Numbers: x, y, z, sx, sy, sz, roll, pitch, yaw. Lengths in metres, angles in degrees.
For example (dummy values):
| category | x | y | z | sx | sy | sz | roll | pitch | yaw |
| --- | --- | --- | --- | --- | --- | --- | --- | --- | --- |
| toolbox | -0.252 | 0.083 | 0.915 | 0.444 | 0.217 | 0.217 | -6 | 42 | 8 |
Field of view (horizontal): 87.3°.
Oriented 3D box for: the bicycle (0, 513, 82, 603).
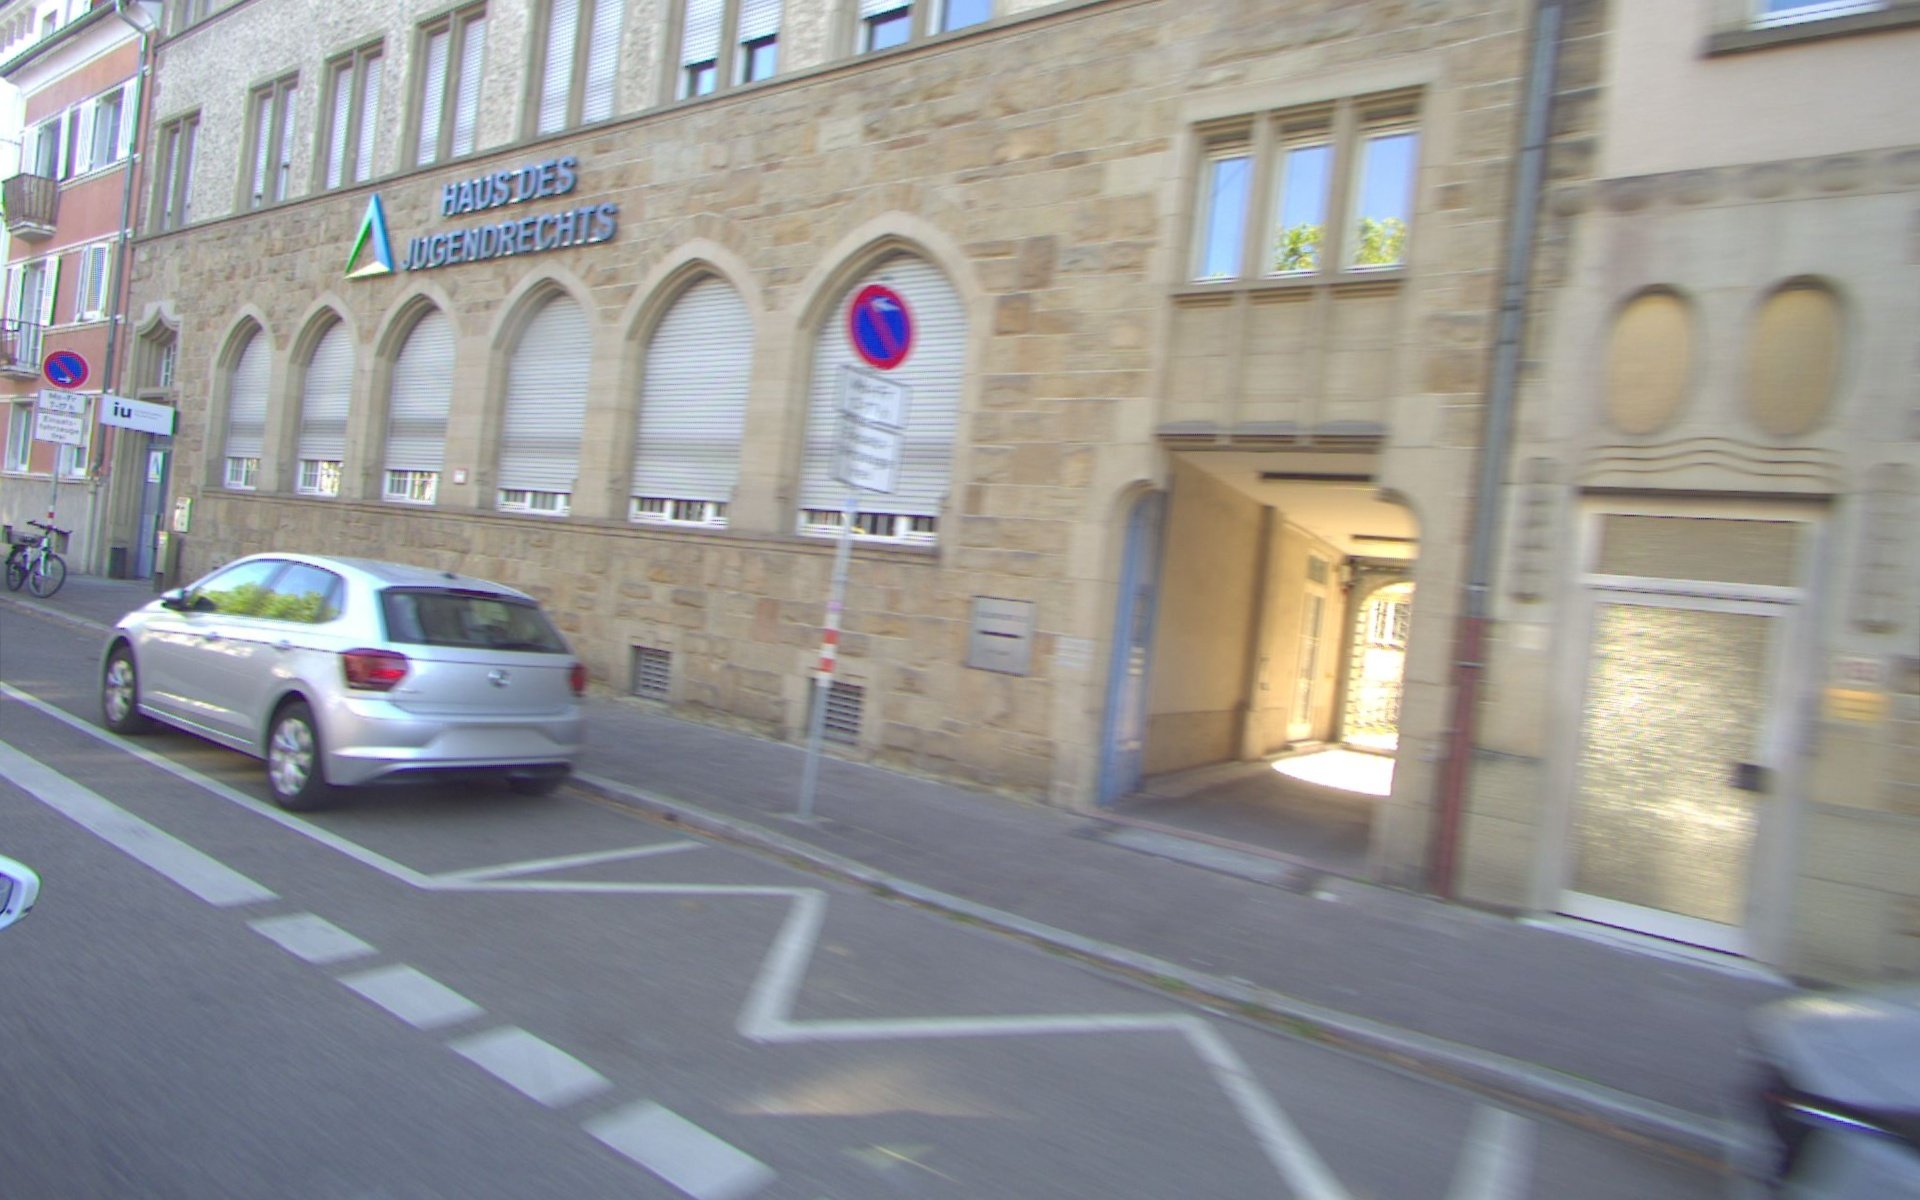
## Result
| category | x | y | z | sx | sy | sz | roll | pitch | yaw |
| --- | --- | --- | --- | --- | --- | --- | --- | --- | --- |
| bicycle | -14.126 | -0.665 | 15.288 | 2.221 | 1.154 | 0.515 | 7 | 2 | 32 |

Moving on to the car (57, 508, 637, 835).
| category | x | y | z | sx | sy | sz | roll | pitch | yaw |
| --- | --- | --- | --- | --- | --- | --- | --- | --- | --- |
| car | -4.425 | 0.362 | 7.077 | 4.157 | 1.517 | 1.717 | 7 | -2 | 33 |

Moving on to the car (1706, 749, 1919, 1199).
| category | x | y | z | sx | sy | sz | roll | pitch | yaw |
| --- | --- | --- | --- | --- | --- | --- | --- | --- | --- |
| car | 3.974 | 1.375 | 1.699 | 4.129 | 1.517 | 1.756 | 7 | -3 | 34 |
